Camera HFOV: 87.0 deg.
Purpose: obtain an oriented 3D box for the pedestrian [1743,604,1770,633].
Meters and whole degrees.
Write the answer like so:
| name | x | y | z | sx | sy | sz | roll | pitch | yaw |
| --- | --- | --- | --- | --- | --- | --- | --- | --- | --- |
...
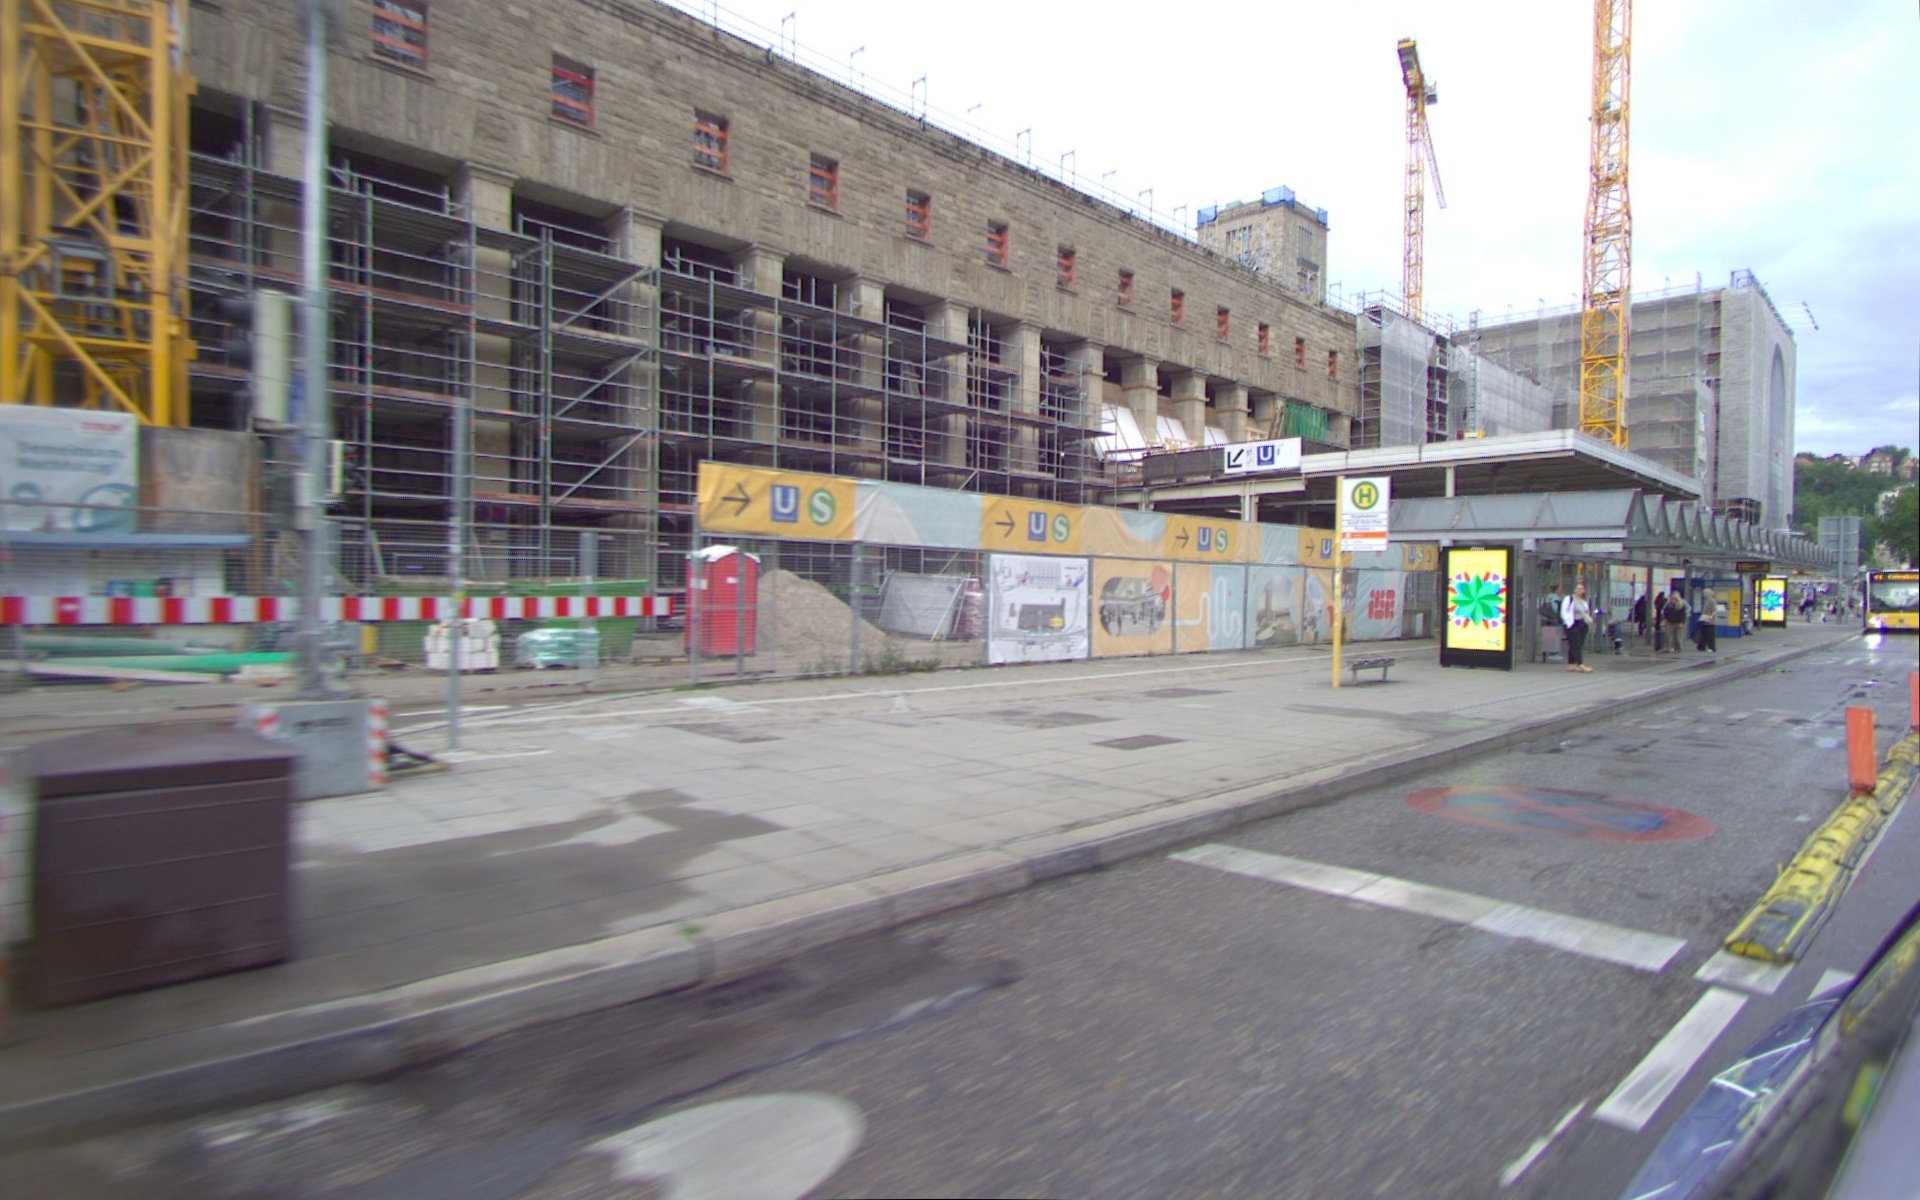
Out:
| name | x | y | z | sx | sy | sz | roll | pitch | yaw |
| --- | --- | --- | --- | --- | --- | --- | --- | --- | --- |
| pedestrian | 30.955 | 0.708 | 39.333 | 0.697 | 1.078 | 0.728 | 1 | 1 | -44 |

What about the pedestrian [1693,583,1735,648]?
| name | x | y | z | sx | sy | sz | roll | pitch | yaw |
| --- | --- | --- | --- | --- | --- | --- | --- | --- | --- |
| pedestrian | 20.318 | 0.402 | 27.274 | 0.808 | 1.714 | 0.763 | 1 | 0 | -45 |

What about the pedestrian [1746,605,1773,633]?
| name | x | y | z | sx | sy | sz | roll | pitch | yaw |
| --- | --- | --- | --- | --- | --- | --- | --- | --- | --- |
| pedestrian | 31.523 | 0.734 | 39.880 | 0.795 | 1.078 | 0.728 | 1 | 1 | -44 |

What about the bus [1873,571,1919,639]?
| name | x | y | z | sx | sy | sz | roll | pitch | yaw |
| --- | --- | --- | --- | --- | --- | --- | --- | --- | --- |
| bus | 46.540 | 0.231 | 49.255 | 2.756 | 3.105 | 8.847 | 0 | 0 | 45 |

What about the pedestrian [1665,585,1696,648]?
| name | x | y | z | sx | sy | sz | roll | pitch | yaw |
| --- | --- | --- | --- | --- | --- | --- | --- | --- | --- |
| pedestrian | 18.622 | 0.427 | 26.158 | 0.717 | 1.585 | 0.521 | 1 | 0 | -45 |

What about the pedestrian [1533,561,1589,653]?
| name | x | y | z | sx | sy | sz | roll | pitch | yaw |
| --- | --- | --- | --- | --- | --- | --- | --- | --- | --- |
| pedestrian | 13.912 | 0.160 | 23.440 | 0.790 | 2.076 | 0.925 | 0 | -1 | 6 |

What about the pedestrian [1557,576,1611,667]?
| name | x | y | z | sx | sy | sz | roll | pitch | yaw |
| --- | --- | --- | --- | --- | --- | --- | --- | --- | --- |
| pedestrian | 12.030 | 0.401 | 19.534 | 0.694 | 1.700 | 0.719 | 1 | 0 | 19 |

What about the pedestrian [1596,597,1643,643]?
| name | x | y | z | sx | sy | sz | roll | pitch | yaw |
| --- | --- | --- | --- | --- | --- | --- | --- | --- | --- |
| pedestrian | 18.132 | 0.548 | 27.821 | 0.827 | 1.246 | 0.914 | 1 | -1 | -44 |

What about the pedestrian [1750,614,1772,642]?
| name | x | y | z | sx | sy | sz | roll | pitch | yaw |
| --- | --- | --- | --- | --- | --- | --- | --- | --- | --- |
| pedestrian | 35.164 | 1.236 | 44.451 | 0.655 | 1.201 | 0.665 | 1 | 1 | -44 |

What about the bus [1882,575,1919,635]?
| name | x | y | z | sx | sy | sz | roll | pitch | yaw |
| --- | --- | --- | --- | --- | --- | --- | --- | --- | --- |
| bus | 52.780 | 0.241 | 55.605 | 2.756 | 3.107 | 8.933 | 0 | 0 | 45 |

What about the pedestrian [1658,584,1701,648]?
| name | x | y | z | sx | sy | sz | roll | pitch | yaw |
| --- | --- | --- | --- | --- | --- | --- | --- | --- | --- |
| pedestrian | 19.258 | 0.416 | 27.079 | 0.791 | 1.681 | 0.808 | 1 | -1 | -44 |

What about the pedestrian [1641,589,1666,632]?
| name | x | y | z | sx | sy | sz | roll | pitch | yaw |
| --- | --- | --- | --- | --- | --- | --- | --- | --- | --- |
| pedestrian | 26.818 | 0.394 | 39.154 | 0.703 | 1.628 | 0.721 | -2 | -2 | 32 |
